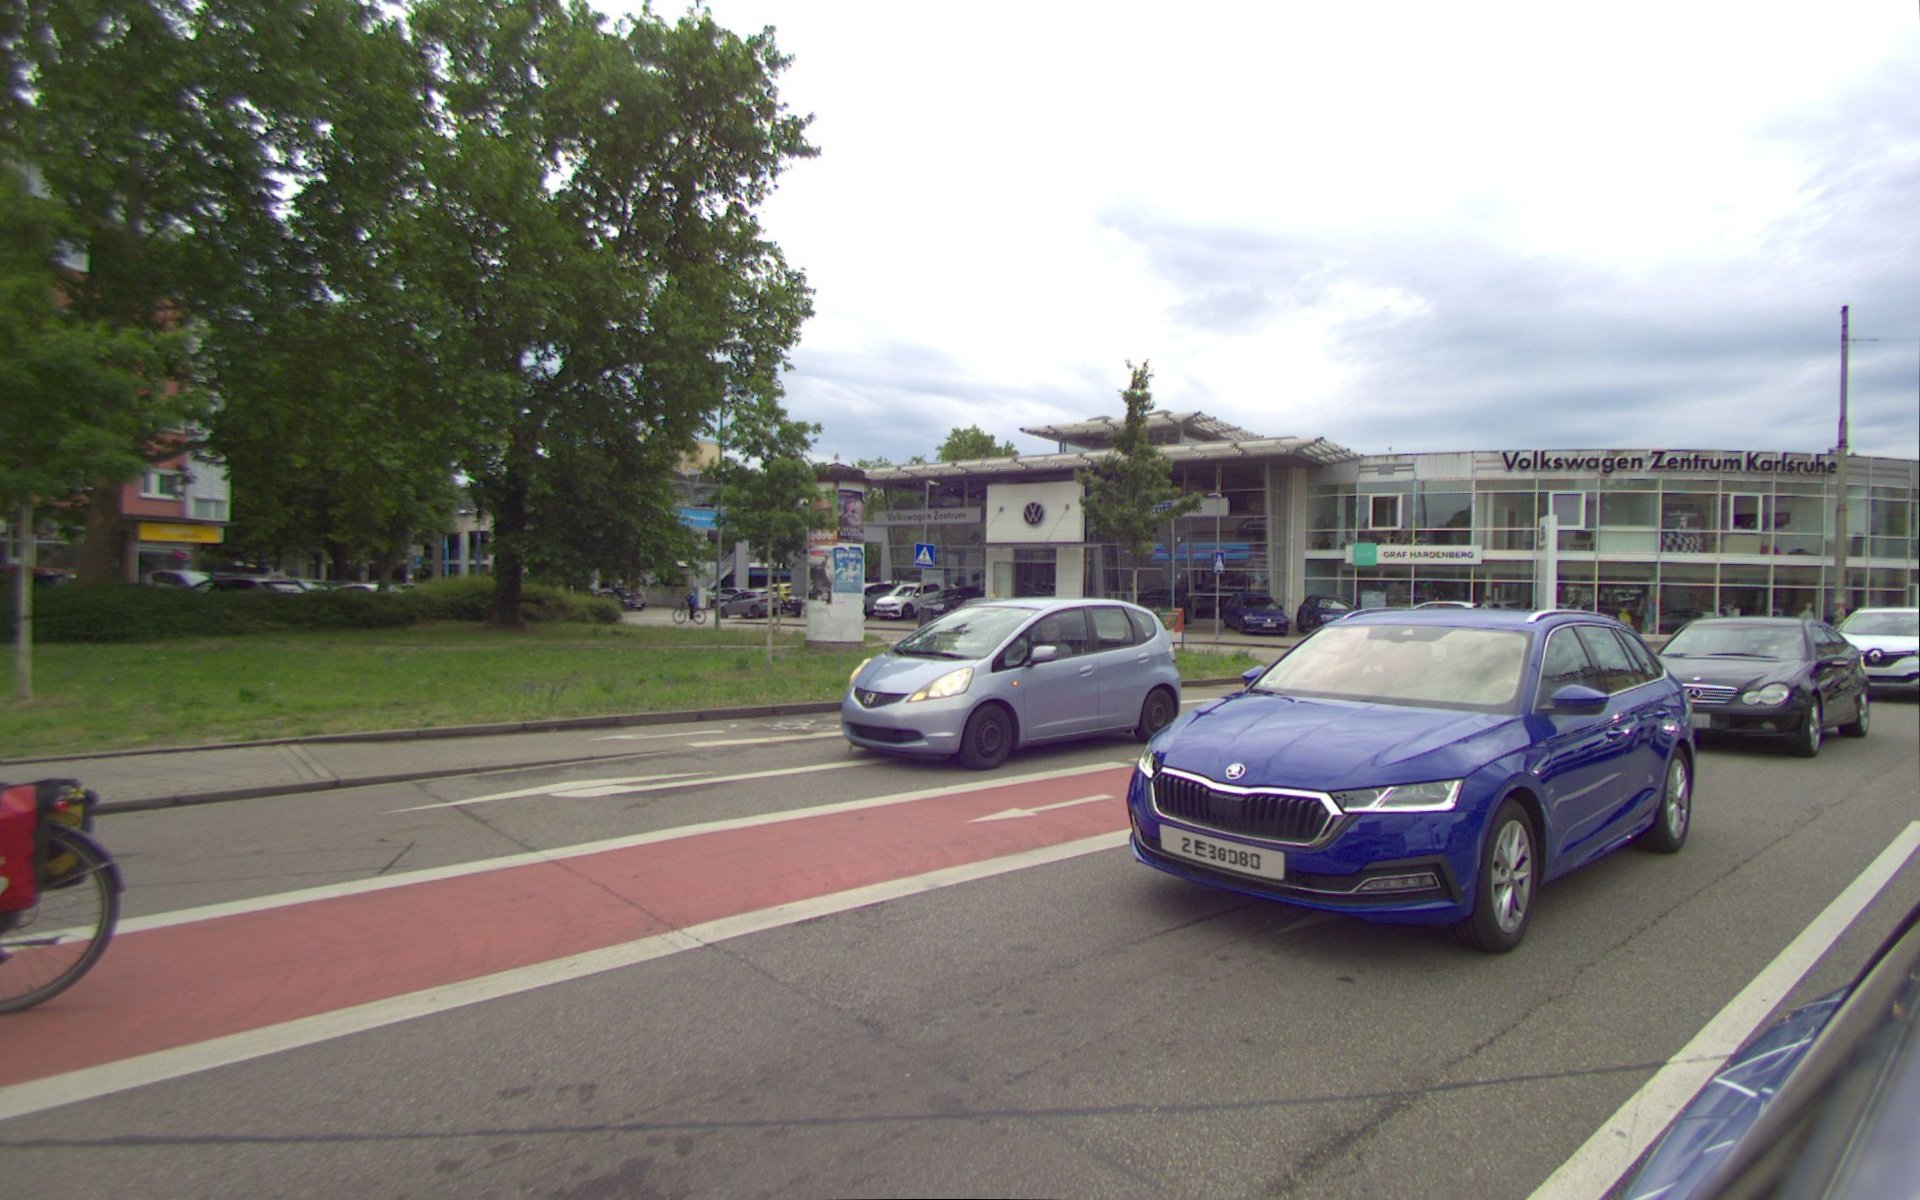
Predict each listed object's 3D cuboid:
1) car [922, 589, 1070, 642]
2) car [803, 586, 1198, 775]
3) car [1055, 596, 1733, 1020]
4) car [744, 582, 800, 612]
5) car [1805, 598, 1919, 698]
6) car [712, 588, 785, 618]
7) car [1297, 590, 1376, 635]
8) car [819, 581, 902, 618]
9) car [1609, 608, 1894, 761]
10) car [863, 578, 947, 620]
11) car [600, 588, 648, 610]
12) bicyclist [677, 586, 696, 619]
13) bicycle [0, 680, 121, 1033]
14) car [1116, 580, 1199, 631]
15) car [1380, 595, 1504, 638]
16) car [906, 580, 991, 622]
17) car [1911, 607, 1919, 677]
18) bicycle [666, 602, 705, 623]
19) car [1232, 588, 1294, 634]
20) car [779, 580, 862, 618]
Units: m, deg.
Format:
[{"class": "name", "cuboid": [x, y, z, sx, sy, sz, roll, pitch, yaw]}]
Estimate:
[{"class": "car", "cuboid": [1.168, 0.478, 34.503, 4.855, 1.563, 1.866, 2, 1, 37]}, {"class": "car", "cuboid": [0.536, 0.644, 10.023, 3.867, 1.502, 1.706, 0, 0, -43]}, {"class": "car", "cuboid": [2.767, 0.723, 5.734, 4.675, 1.454, 1.768, 0, 0, -42]}, {"class": "car", "cuboid": [-10.676, -0.169, 57.408, 3.105, 1.530, 1.422, 2, 5, 38]}, {"class": "car", "cuboid": [16.532, 0.775, 17.629, 4.069, 1.579, 1.982, 0, -1, -38]}, {"class": "car", "cuboid": [-11.644, 0.117, 55.493, 4.127, 1.531, 1.633, 1, 1, 38]}, {"class": "car", "cuboid": [14.313, 0.449, 38.697, 1.759, 1.580, 4.029, 1, 1, 5]}, {"class": "car", "cuboid": [-5.073, -0.045, 52.229, 1.946, 1.483, 4.178, 2, 6, 36]}, {"class": "car", "cuboid": [9.093, 0.798, 11.492, 4.345, 1.388, 1.768, 0, 0, -41]}, {"class": "car", "cuboid": [-2.697, -0.091, 50.644, 1.946, 1.615, 4.179, 2, 7, 36]}, {"class": "car", "cuboid": [-21.877, -0.064, 65.860, 1.928, 1.358, 3.678, 0, 1, -37]}, {"class": "bicyclist", "cuboid": [-12.803, 0.105, 47.373, 0.686, 1.515, 0.551, 1, 0, 19]}, {"class": "bicycle", "cuboid": [-3.896, 0.867, 3.115, 1.982, 1.092, 0.762, 0, -1, -43]}, {"class": "car", "cuboid": [8.255, 0.162, 42.040, 1.942, 1.662, 4.627, 1, 5, 31]}, {"class": "car", "cuboid": [18.067, 0.575, 38.005, 3.889, 1.459, 1.708, 2, 1, 40]}, {"class": "car", "cuboid": [-0.513, 0.002, 48.859, 1.946, 1.472, 4.180, 2, 8, 36]}, {"class": "car", "cuboid": [22.034, 0.920, 21.637, 3.899, 1.454, 1.908, 1, 1, -38]}, {"class": "bicycle", "cuboid": [-12.860, 0.597, 47.416, 1.768, 0.923, 0.558, 1, 0, 22]}, {"class": "car", "cuboid": [11.730, 0.379, 39.410, 1.927, 1.544, 4.216, 1, 2, 12]}, {"class": "car", "cuboid": [-7.364, -0.098, 53.696, 1.946, 1.530, 4.179, 2, 7, 36]}]
